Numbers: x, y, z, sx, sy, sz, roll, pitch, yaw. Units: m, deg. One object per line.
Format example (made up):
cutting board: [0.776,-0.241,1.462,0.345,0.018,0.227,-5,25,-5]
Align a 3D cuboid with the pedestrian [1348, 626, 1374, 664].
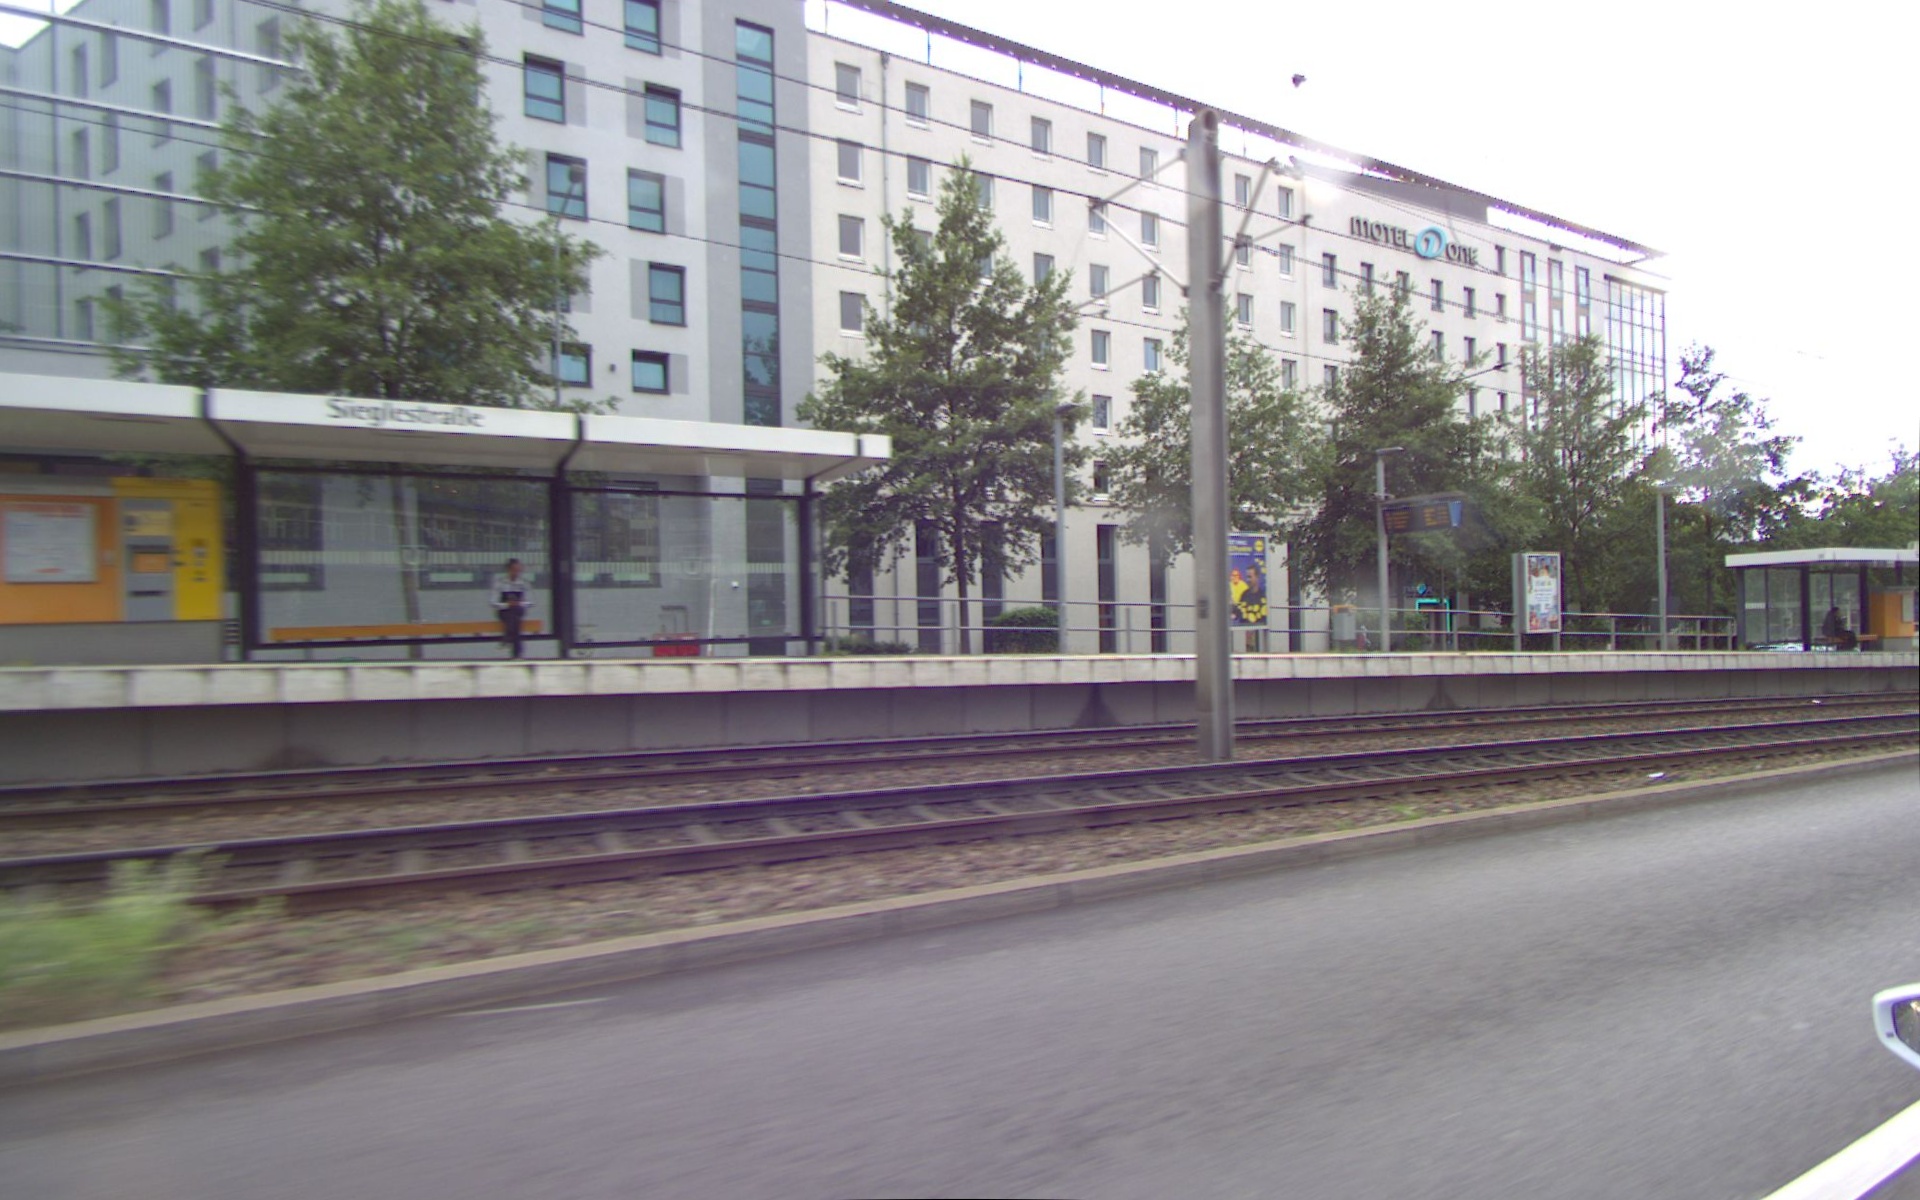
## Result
pedestrian: [17.378,1.954,43.510,0.825,1.599,0.597,2,0,-29]

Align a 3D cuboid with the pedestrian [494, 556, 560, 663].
pedestrian: [-5.586,0.131,12.940,0.676,1.317,0.957,1,-1,-30]

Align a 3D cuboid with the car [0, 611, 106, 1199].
car: [-3.833,0.705,0.618,4.775,1.453,1.780,1,-1,-32]

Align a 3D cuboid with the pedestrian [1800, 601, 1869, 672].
pedestrian: [26.082,1.078,29.966,1.254,2.040,1.122,2,0,-28]
